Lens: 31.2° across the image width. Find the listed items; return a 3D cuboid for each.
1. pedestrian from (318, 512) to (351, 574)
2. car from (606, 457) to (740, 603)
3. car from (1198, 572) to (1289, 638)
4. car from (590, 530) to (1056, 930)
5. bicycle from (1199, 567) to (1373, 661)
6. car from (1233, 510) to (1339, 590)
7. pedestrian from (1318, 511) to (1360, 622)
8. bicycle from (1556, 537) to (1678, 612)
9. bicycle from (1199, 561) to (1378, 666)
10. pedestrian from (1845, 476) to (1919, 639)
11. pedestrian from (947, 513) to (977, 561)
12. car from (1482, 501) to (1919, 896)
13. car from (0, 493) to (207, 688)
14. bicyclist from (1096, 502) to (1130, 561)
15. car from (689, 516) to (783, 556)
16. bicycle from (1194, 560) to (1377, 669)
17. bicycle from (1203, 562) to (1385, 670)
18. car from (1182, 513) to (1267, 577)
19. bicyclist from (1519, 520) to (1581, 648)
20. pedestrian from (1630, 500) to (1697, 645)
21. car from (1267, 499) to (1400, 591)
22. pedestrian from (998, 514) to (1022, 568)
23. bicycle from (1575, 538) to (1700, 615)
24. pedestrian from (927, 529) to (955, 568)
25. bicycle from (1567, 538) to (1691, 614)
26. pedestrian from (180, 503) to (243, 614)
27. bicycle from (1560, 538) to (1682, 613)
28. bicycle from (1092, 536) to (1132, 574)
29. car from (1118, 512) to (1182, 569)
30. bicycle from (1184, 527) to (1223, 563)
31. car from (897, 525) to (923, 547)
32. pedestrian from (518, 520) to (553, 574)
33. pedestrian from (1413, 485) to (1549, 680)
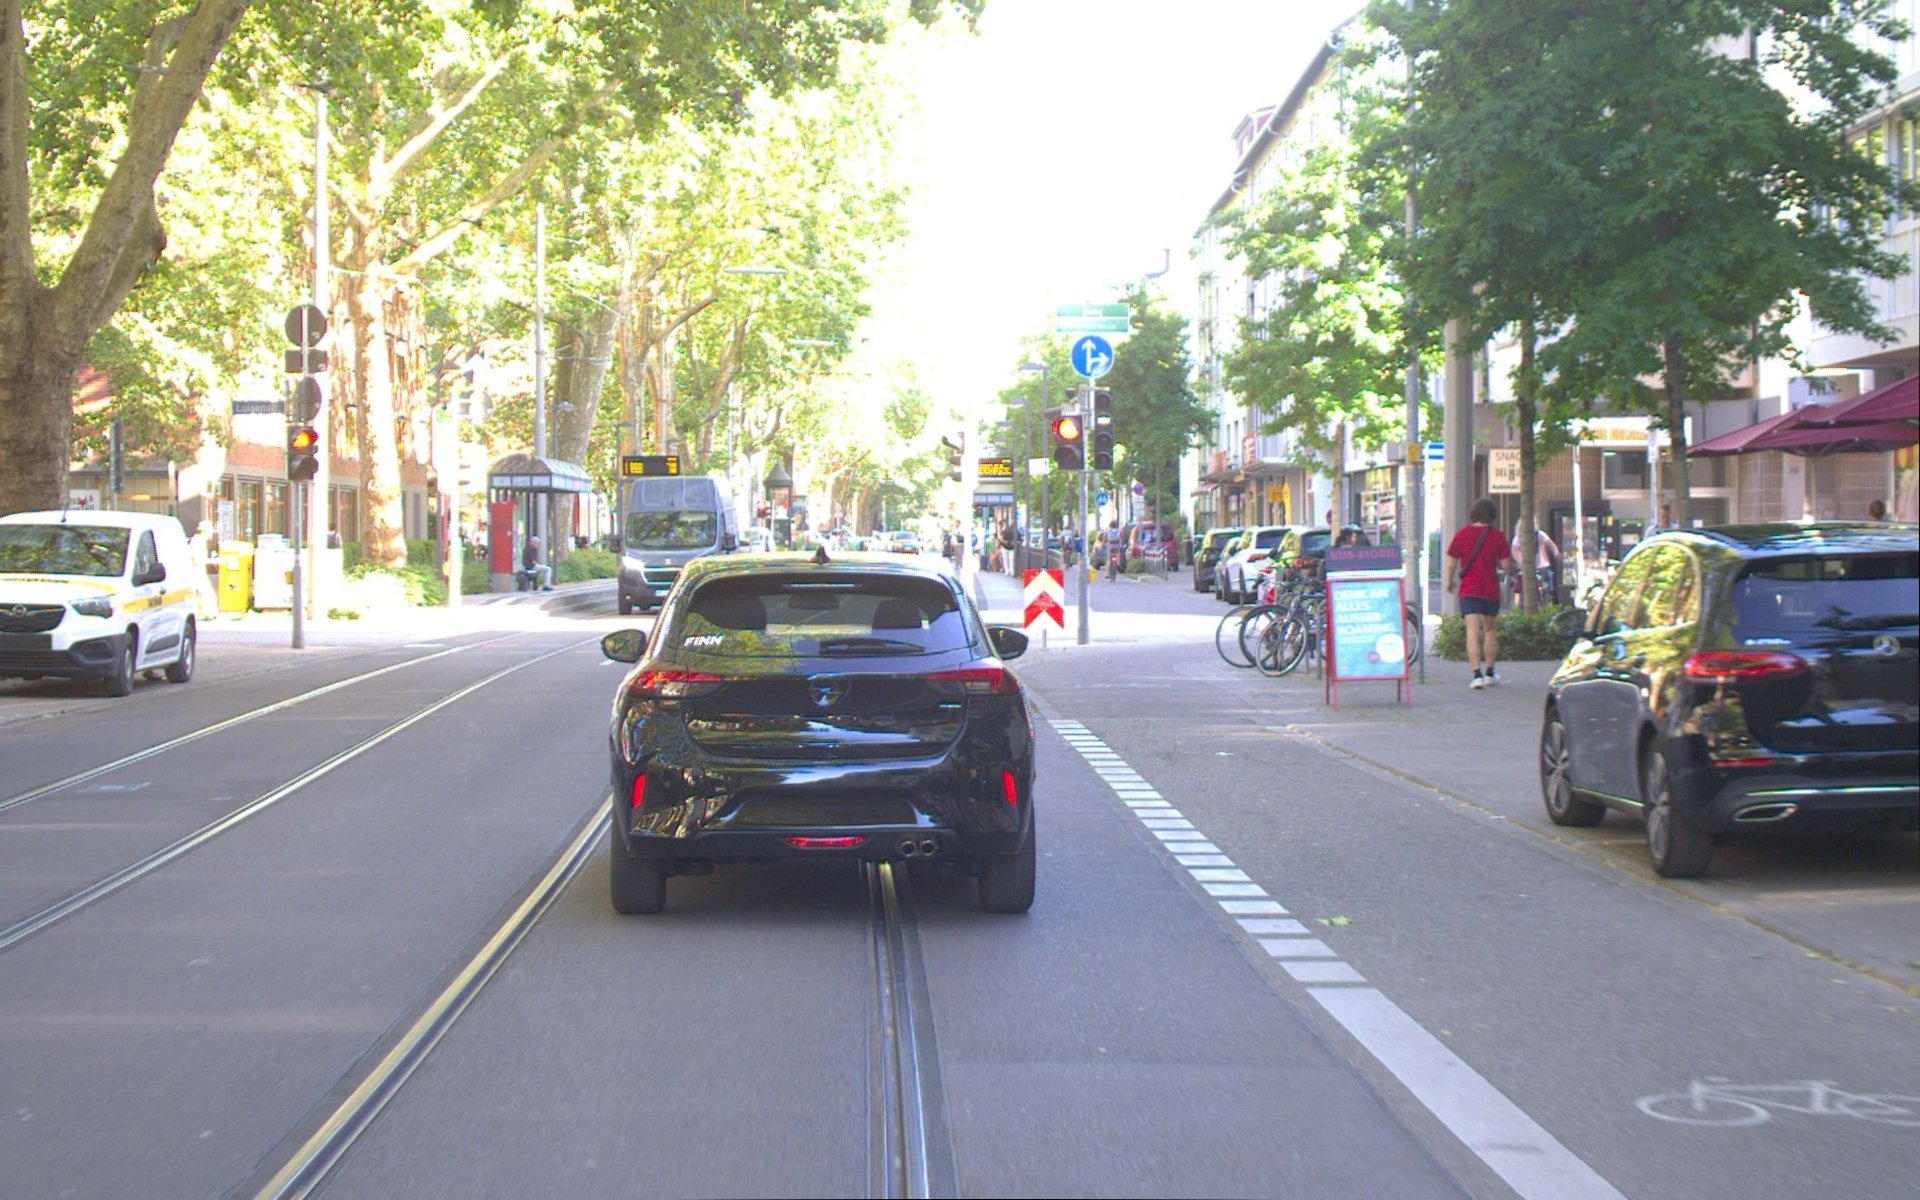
[{"bbox_3d":[-17.019,-1.546,93.558,0.735,1.666,0.861,1,1,0],"label":"pedestrian"},{"bbox_3d":[-5.638,-1.364,68.312,2.113,2.728,6.115,-1,1,0],"label":"car"},{"bbox_3d":[6.485,0.101,79.031,1.744,1.435,4.247,1,1,0],"label":"car"},{"bbox_3d":[-0.587,0.469,14.937,1.759,1.503,3.683,-1,1,-2],"label":"car"},{"bbox_3d":[3.538,0.153,37.361,1.815,0.991,0.481,1,1,-2],"label":"bicycle"},{"bbox_3d":[6.816,-1.043,72.318,1.799,1.600,4.415,1,1,0],"label":"car"},{"bbox_3d":[5.353,-0.465,48.572,0.551,1.556,0.645,1,0,4],"label":"pedestrian"},{"bbox_3d":[10.923,-0.424,57.153,1.914,1.203,0.511,-1,1,-3],"label":"bicycle"},{"bbox_3d":[3.488,0.142,36.516,1.815,1.096,0.498,1,1,-8],"label":"bicycle"},{"bbox_3d":[9.515,-0.438,35.394,0.677,1.653,0.814,1,1,9],"label":"pedestrian"},{"bbox_3d":[0.080,-2.225,121.810,0.751,1.703,0.762,1,1,35],"label":"pedestrian"},{"bbox_3d":[3.856,0.363,16.563,1.758,1.582,4.329,-4,1,-2],"label":"car"},{"bbox_3d":[-8.915,-0.122,34.796,1.763,1.844,4.319,1,1,-2],"label":"car"},{"bbox_3d":[4.614,-2.060,103.957,0.861,1.753,1.054,1,1,-6],"label":"bicyclist"},{"bbox_3d":[-10.718,-3.038,164.418,4.383,1.845,2.000,1,1,-7],"label":"car"},{"bbox_3d":[3.321,0.148,35.191,1.815,1.096,0.525,0,1,-1],"label":"bicycle"},{"bbox_3d":[3.484,0.164,35.927,1.815,1.096,0.481,1,1,-8],"label":"bicycle"},{"bbox_3d":[6.820,-1.413,88.915,1.857,1.610,4.398,1,1,0],"label":"car"},{"bbox_3d":[7.995,-0.220,46.624,0.677,1.711,0.965,1,1,2],"label":"bicyclist"},{"bbox_3d":[8.783,-0.349,42.936,0.590,1.778,0.995,1,1,-2],"label":"pedestrian"},{"bbox_3d":[7.087,-1.042,65.625,1.993,1.610,4.445,-3,1,0],"label":"car"},{"bbox_3d":[1.495,-1.768,102.641,0.631,1.571,0.871,2,1,0],"label":"pedestrian"},{"bbox_3d":[10.939,-0.378,55.525,1.914,1.203,0.511,-1,2,-3],"label":"bicycle"},{"bbox_3d":[-0.873,-2.345,155.866,1.163,1.742,0.958,1,1,-5],"label":"pedestrian"},{"bbox_3d":[10.904,-0.393,56.063,1.914,1.203,0.511,-1,2,-3],"label":"bicycle"},{"bbox_3d":[-12.715,-0.716,58.429,0.923,1.829,0.920,1,3,-4],"label":"pedestrian"},{"bbox_3d":[10.880,-0.403,56.598,1.914,1.203,0.511,-1,2,-3],"label":"bicycle"},{"bbox_3d":[4.594,-1.368,104.107,0.861,1.132,2.396,1,1,-6],"label":"bicycle"},{"bbox_3d":[6.758,-2.113,122.678,1.993,1.946,4.000,1,1,-1],"label":"car"},{"bbox_3d":[7.706,-1.743,108.929,0.621,1.132,2.440,1,1,-11],"label":"bicycle"},{"bbox_3d":[-3.608,-4.583,247.277,1.745,1.539,4.000,1,1,-2],"label":"car"},{"bbox_3d":[-9.433,-1.178,76.467,0.705,1.164,0.660,-1,1,-3],"label":"pedestrian"},{"bbox_3d":[4.797,-0.169,31.629,0.877,1.752,1.046,1,1,32],"label":"pedestrian"}]
